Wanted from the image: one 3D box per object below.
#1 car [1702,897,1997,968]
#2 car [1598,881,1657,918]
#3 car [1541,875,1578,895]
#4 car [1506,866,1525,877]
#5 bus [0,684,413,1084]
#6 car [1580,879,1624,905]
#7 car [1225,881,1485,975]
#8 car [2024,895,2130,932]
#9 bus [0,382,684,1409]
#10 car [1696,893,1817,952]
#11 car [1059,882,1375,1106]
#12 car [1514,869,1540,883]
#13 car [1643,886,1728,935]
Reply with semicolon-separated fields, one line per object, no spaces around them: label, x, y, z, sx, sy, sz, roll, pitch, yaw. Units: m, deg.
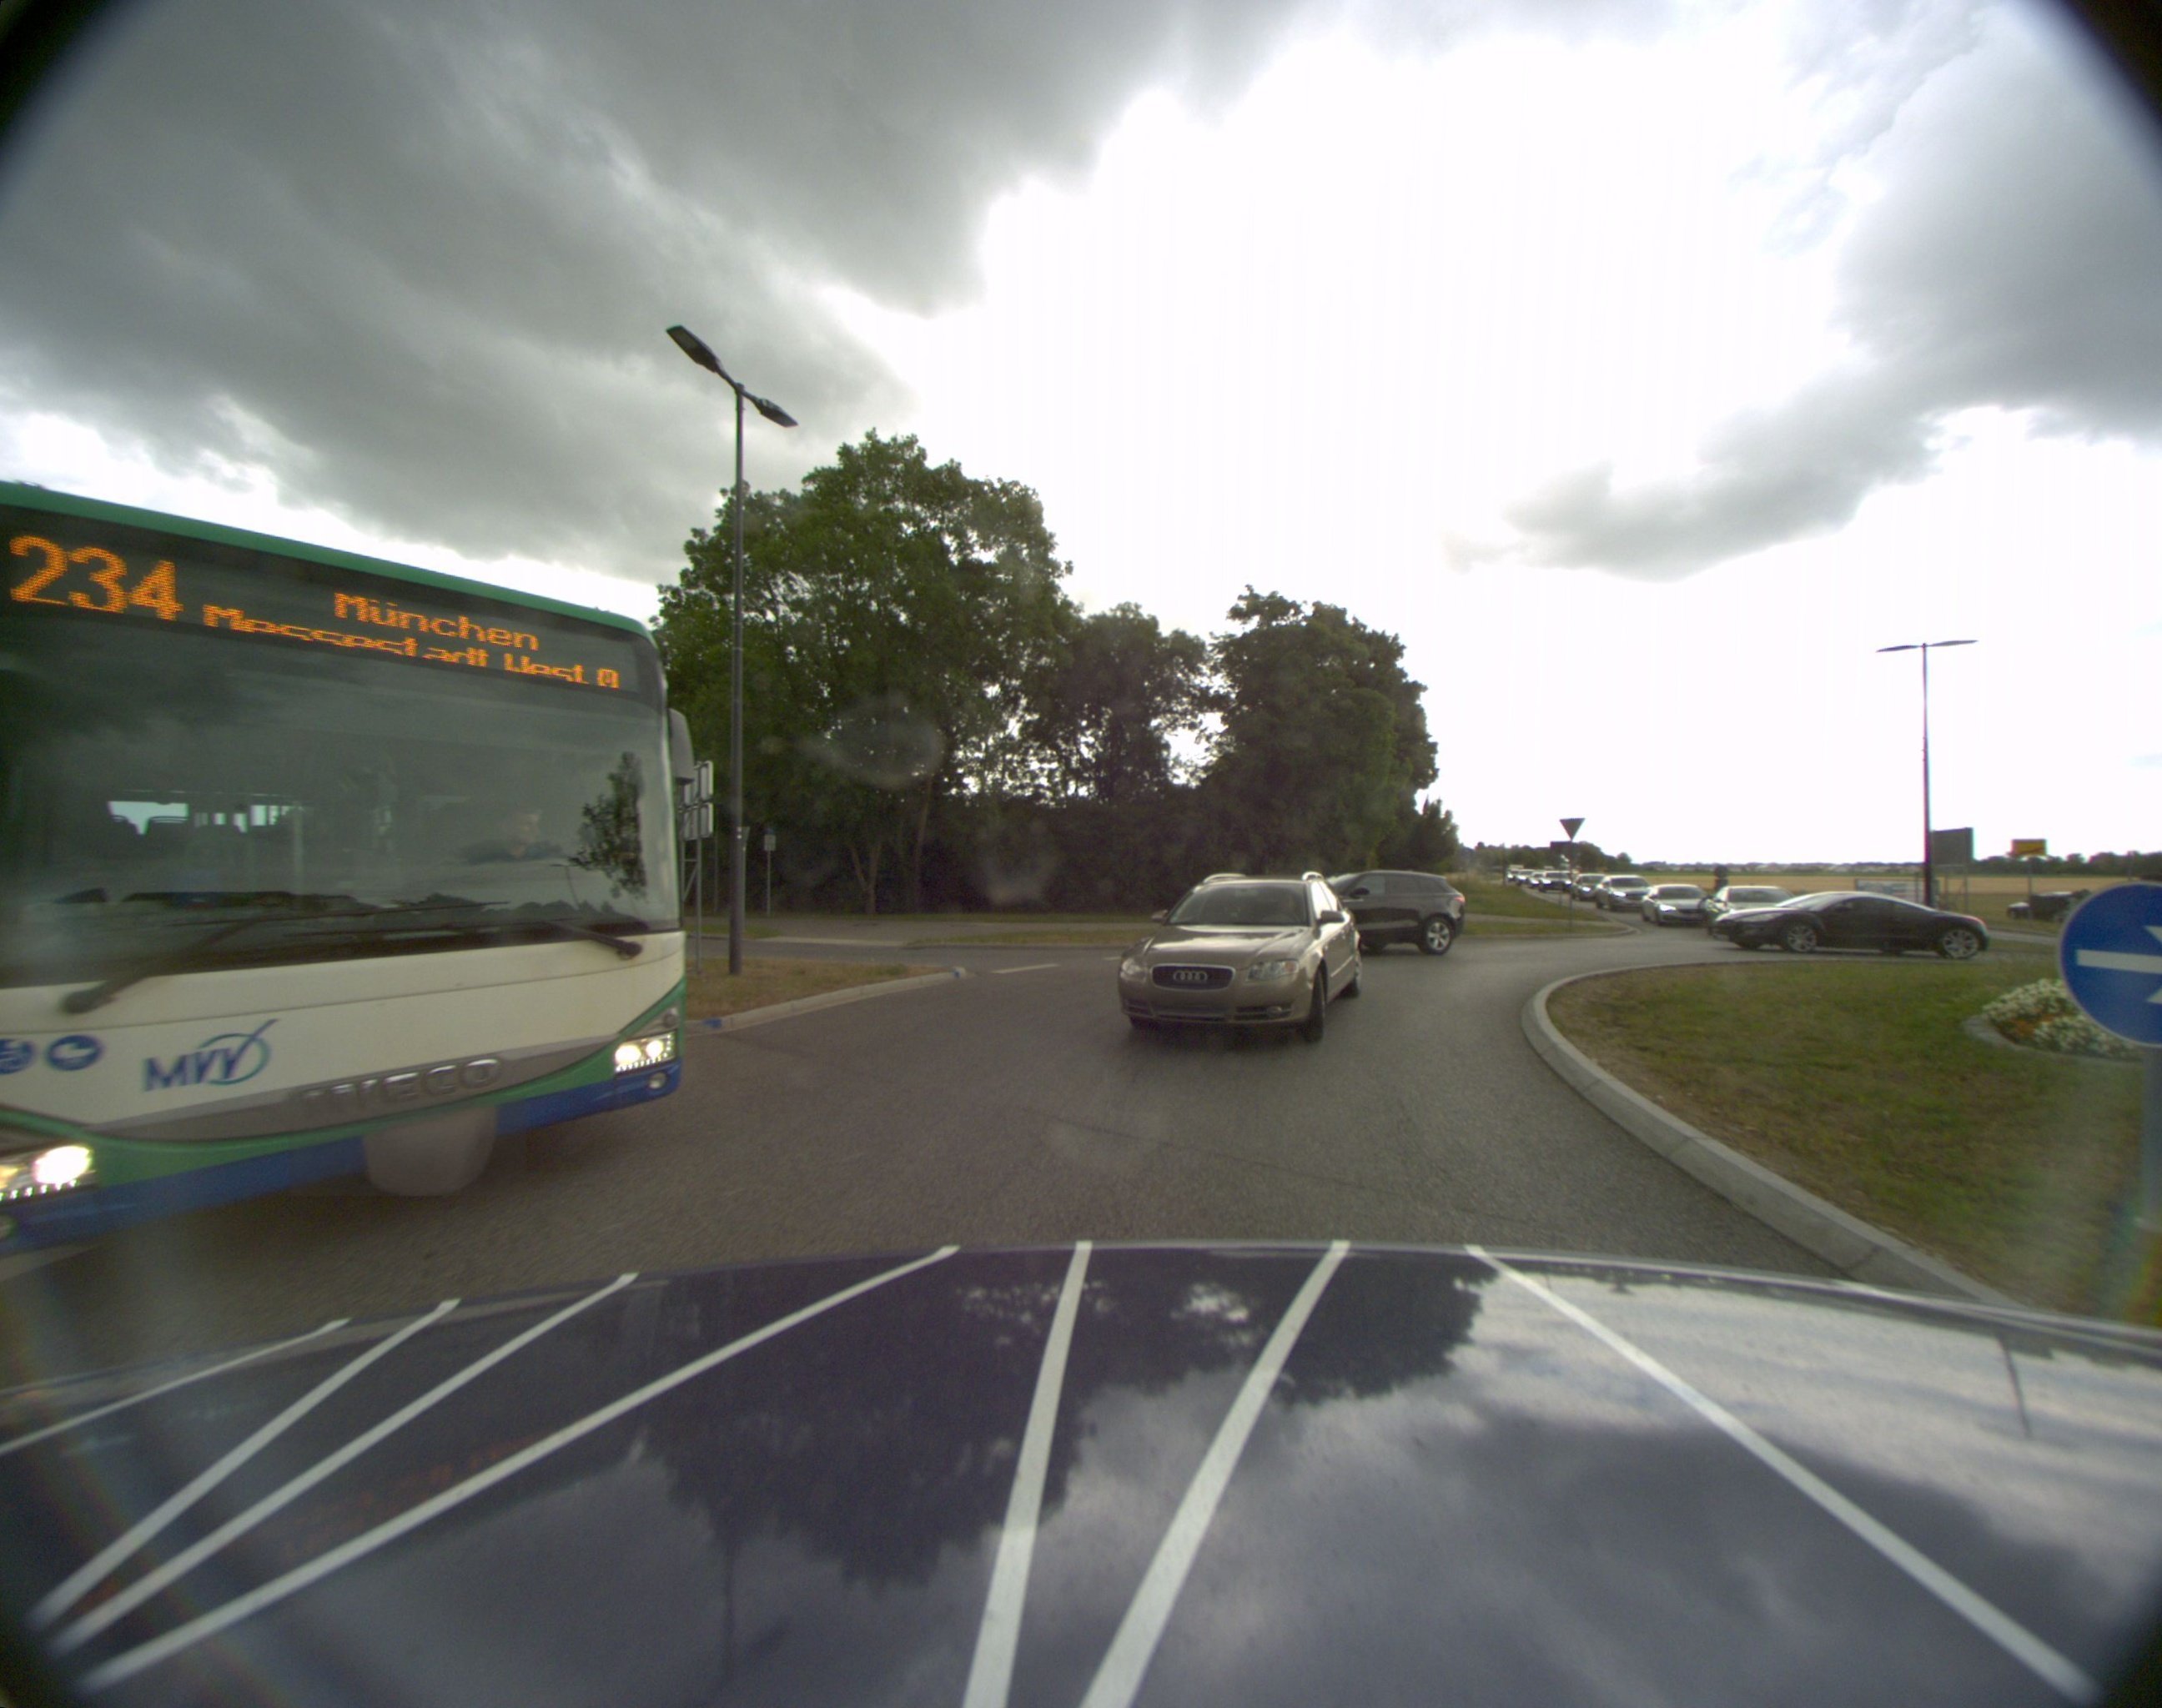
car;16.312;1.628;16.410;4.106;1.299;1.834;0;-1;15
car;25.317;2.046;35.287;1.777;1.489;3.818;-1;0;29
car;35.400;2.301;56.298;1.777;1.310;3.817;-1;0;24
car;56.526;2.295;98.862;1.777;1.310;3.817;-1;0;24
bus;-10.051;0.275;8.860;5.445;3.239;2.530;-1;0;40
car;30.558;2.214;44.681;1.777;1.310;3.818;-1;0;29
car;5.371;1.348;14.962;4.592;1.564;1.997;0;-2;-20
car;44.145;2.604;33.784;1.777;1.310;3.818;0;0;35
bus;-5.425;0.168;5.079;6.530;3.239;2.530;-1;0;40
car;19.113;1.868;21.711;1.836;1.448;4.146;0;-3;31
car;1.686;1.032;7.541;1.778;1.456;4.550;0;-2;28
car;44.295;2.182;75.487;1.777;1.310;3.817;-1;0;24
car;21.737;1.971;27.463;1.777;1.489;3.818;-1;0;29
